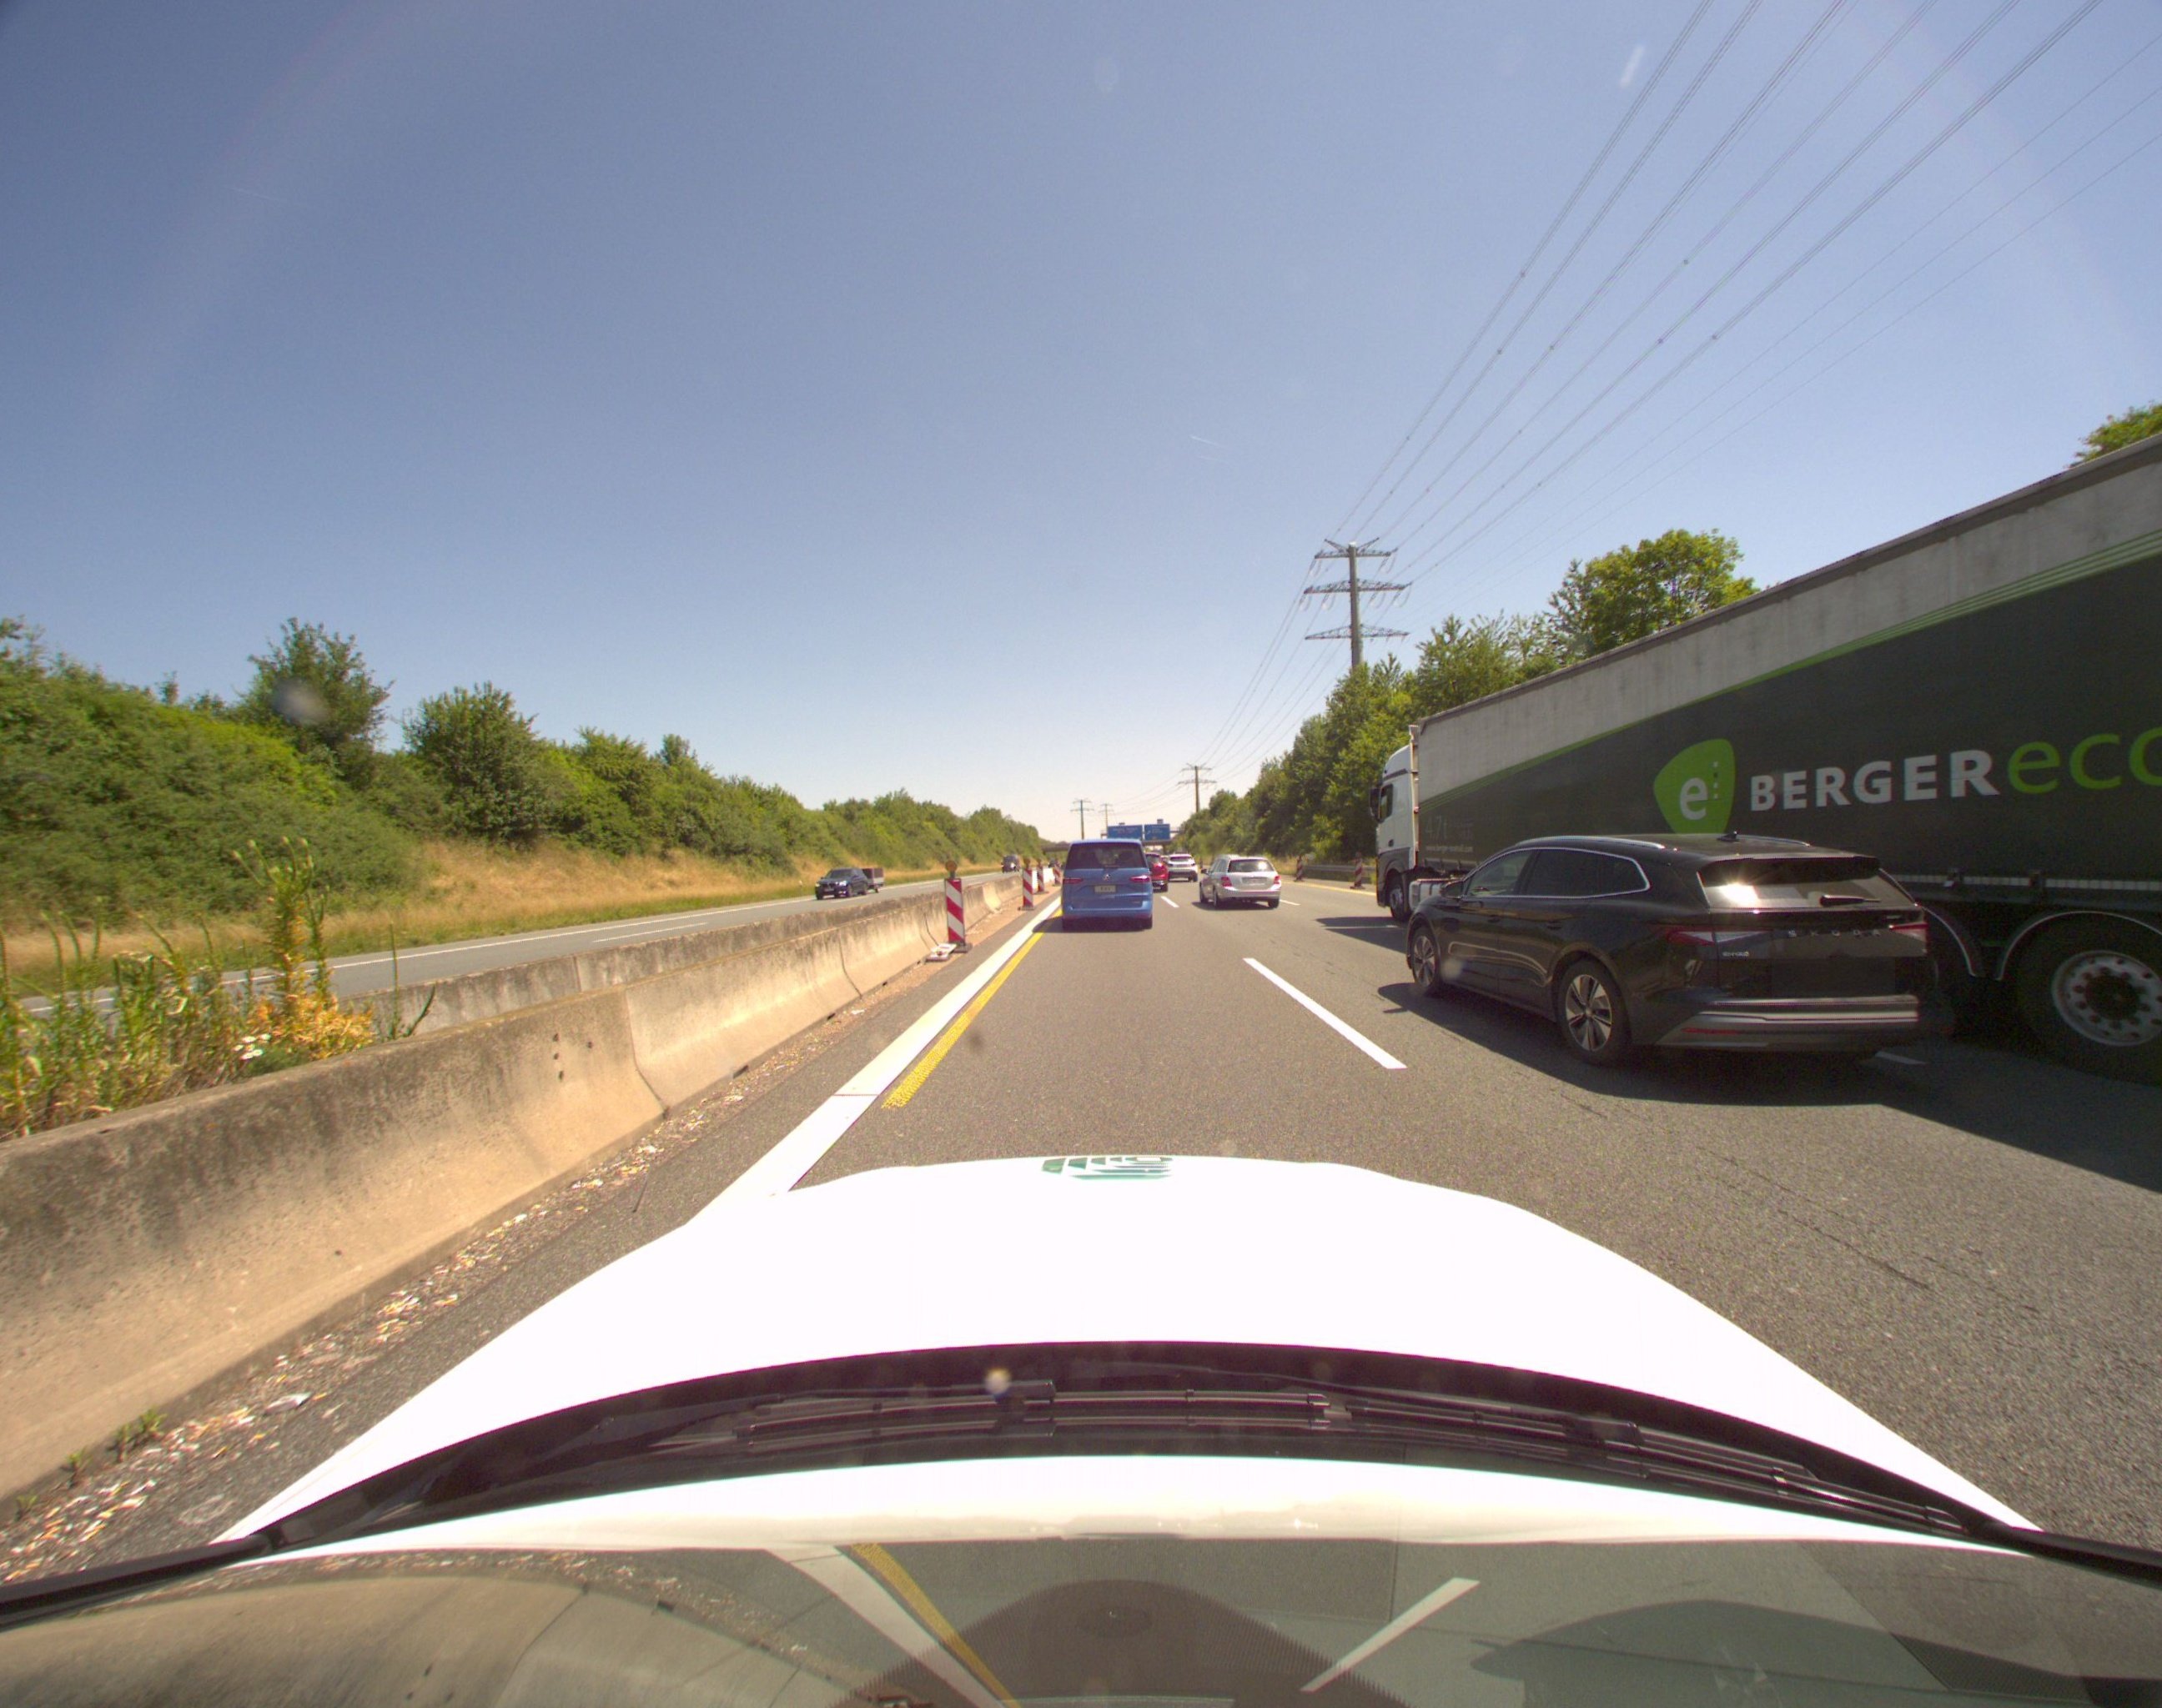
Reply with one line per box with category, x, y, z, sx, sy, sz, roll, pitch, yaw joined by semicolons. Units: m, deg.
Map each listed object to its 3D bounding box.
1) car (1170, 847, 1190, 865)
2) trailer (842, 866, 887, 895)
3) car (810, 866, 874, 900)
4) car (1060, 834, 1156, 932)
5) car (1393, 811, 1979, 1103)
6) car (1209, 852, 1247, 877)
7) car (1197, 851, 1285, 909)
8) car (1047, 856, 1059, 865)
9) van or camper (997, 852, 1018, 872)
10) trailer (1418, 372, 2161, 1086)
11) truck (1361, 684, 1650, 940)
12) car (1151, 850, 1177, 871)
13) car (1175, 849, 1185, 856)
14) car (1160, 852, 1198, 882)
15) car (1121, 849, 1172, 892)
car;10.874;0.226;89.366;1.791;2.014;4.228;0;0;2
trailer;-13.267;1.618;50.083;1.563;1.552;3.781;-4;0;2
car;-13.369;1.590;45.849;1.986;1.650;4.632;-4;0;2
car;0.569;0.583;18.216;1.868;1.912;4.360;0;0;1
car;4.294;0.600;6.855;1.695;1.655;4.430;0;0;1
car;8.805;0.620;48.931;1.694;1.448;3.789;0;0;2
car;4.536;0.706;23.647;1.764;1.517;4.360;0;0;1
car;-5.235;1.208;151.989;1.986;1.684;4.154;-4;0;1
van or camper;-10.963;1.163;122.185;2.215;2.710;7.081;-4;0;1
trailer;7.598;-0.683;8.726;2.773;4.047;13.113;0;0;1
truck;7.738;-0.653;15.832;2.723;4.047;5.796;0;-1;2
car;6.641;0.538;65.250;1.791;1.594;4.228;0;0;2
car;24.659;-0.261;202.912;1.868;1.671;4.360;0;0;1
car;5.509;0.711;46.205;1.791;1.594;4.228;0;0;2
car;2.674;0.675;34.154;1.868;1.671;4.360;0;0;1
